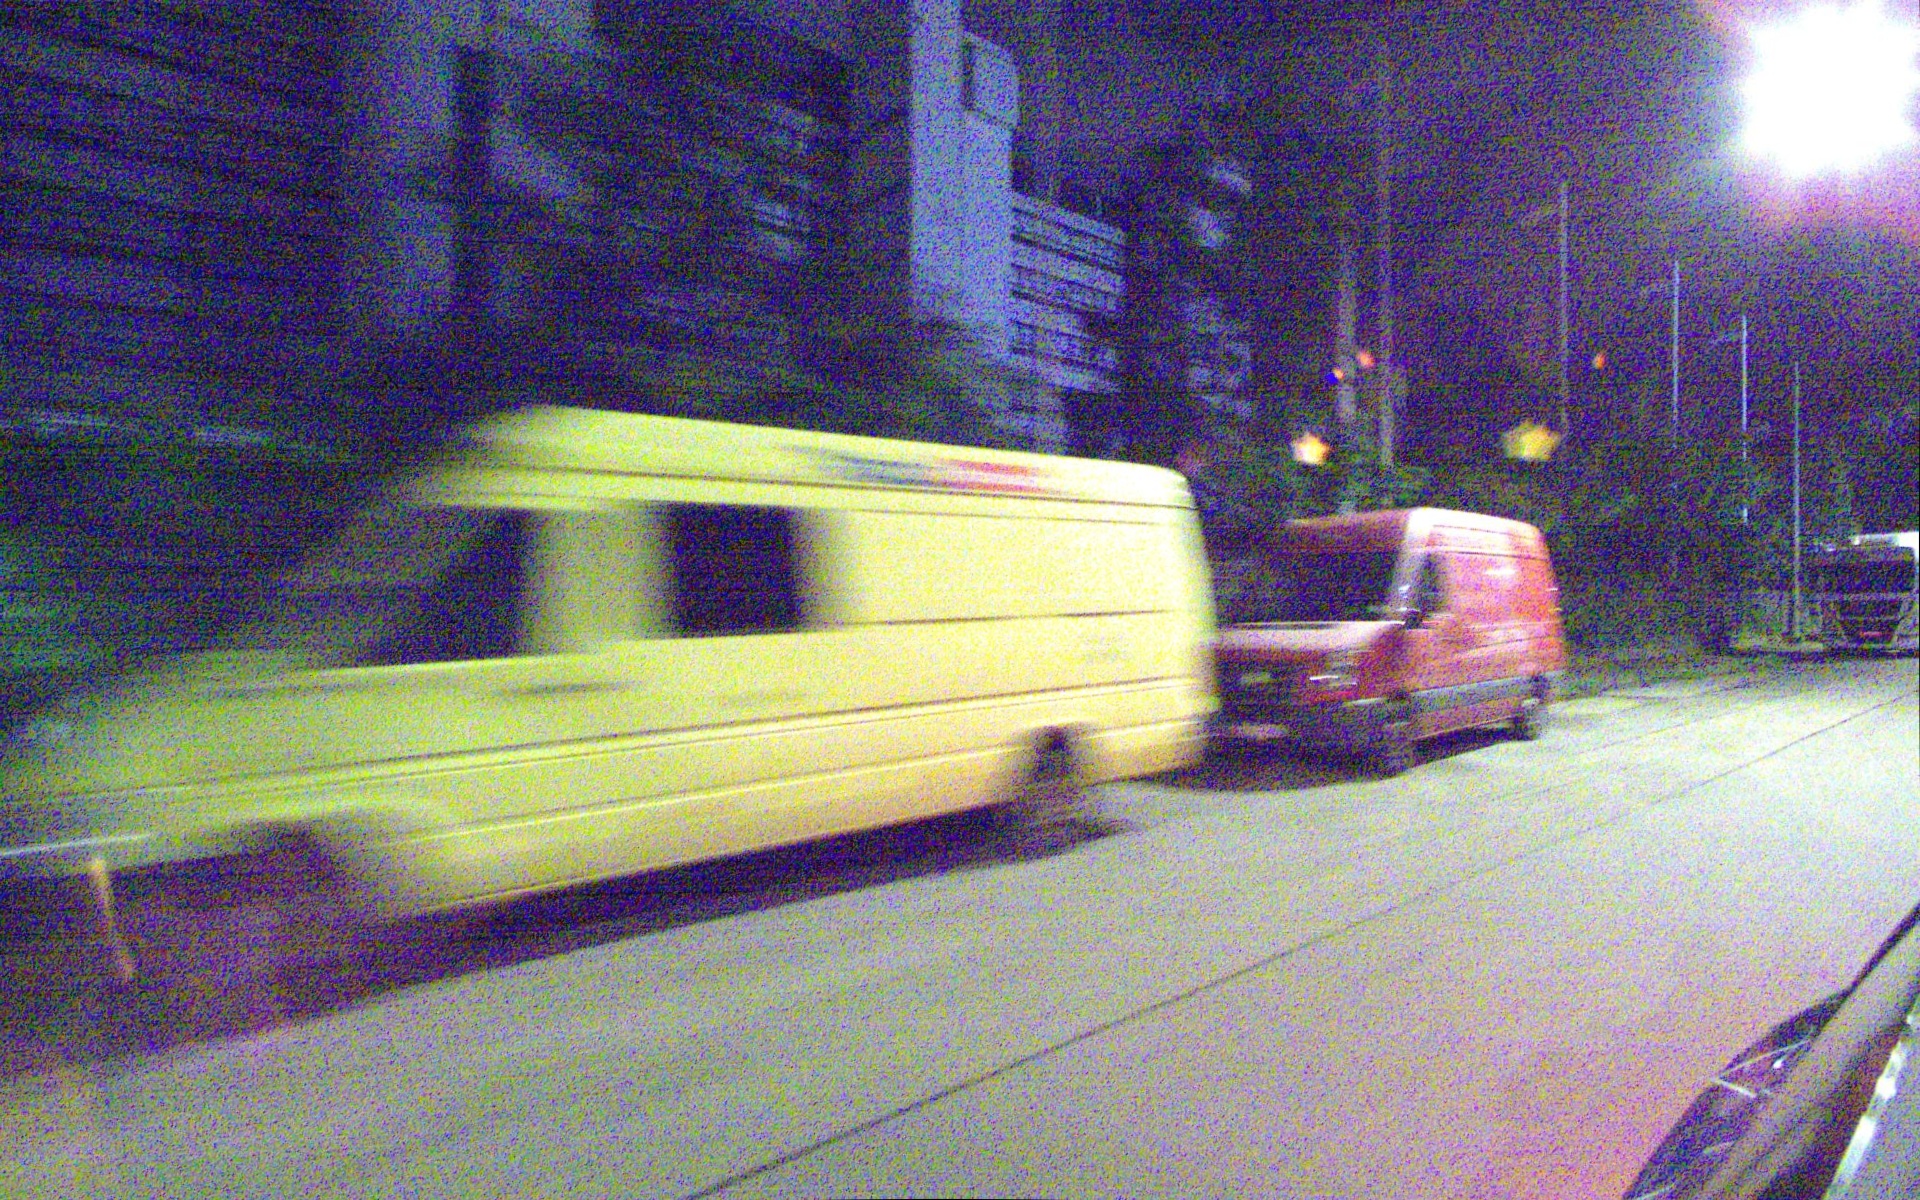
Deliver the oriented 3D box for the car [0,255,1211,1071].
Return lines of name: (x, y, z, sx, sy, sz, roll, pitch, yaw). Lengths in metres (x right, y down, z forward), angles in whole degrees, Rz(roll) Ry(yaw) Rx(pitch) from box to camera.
car: (-1.363, 0.190, 5.848, 6.527, 2.580, 1.944, 0, -1, -39)

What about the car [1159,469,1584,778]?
car: (4.823, 0.193, 11.225, 5.922, 2.580, 1.996, 0, -1, -42)

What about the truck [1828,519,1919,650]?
truck: (33.146, -0.479, 34.497, 12.419, 3.886, 2.517, 0, -1, -36)
